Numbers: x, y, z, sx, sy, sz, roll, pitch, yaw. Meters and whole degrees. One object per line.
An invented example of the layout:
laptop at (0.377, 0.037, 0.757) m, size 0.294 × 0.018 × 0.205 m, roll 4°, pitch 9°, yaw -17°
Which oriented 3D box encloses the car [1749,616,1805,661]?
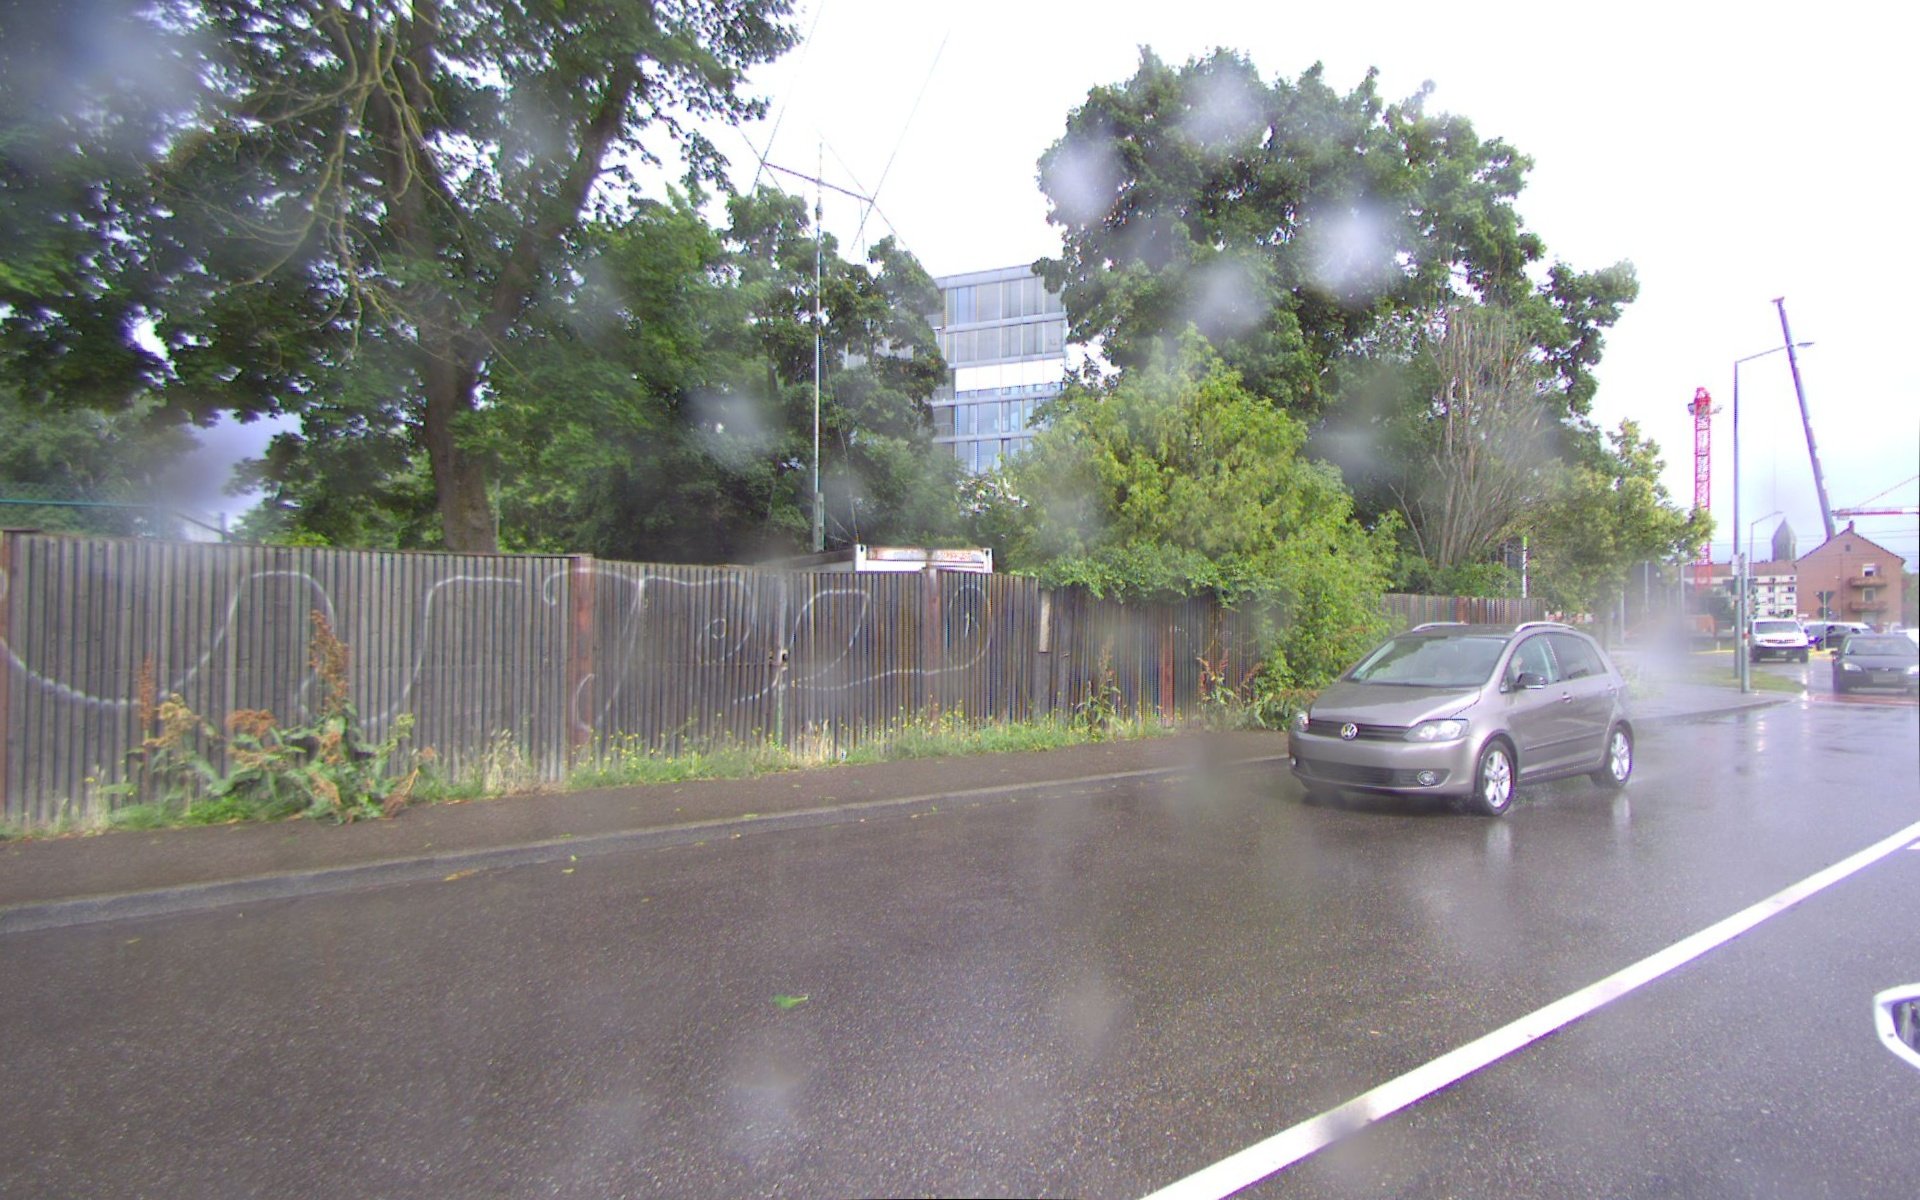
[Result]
car at (36.545, 1.703, 44.889) m, size 1.866 × 1.901 × 5.108 m, roll -1°, pitch -2°, yaw 40°

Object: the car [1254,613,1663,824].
car at (4.888, 0.985, 9.590) m, size 4.387 × 1.572 × 1.768 m, roll 1°, pitch -4°, yaw -39°

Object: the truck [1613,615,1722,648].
truck at (55.700, 2.483, 79.185) m, size 2.416 × 2.475 × 6.642 m, roll 1°, pitch -2°, yaw -42°

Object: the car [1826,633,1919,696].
car at (24.039, 1.646, 26.183) m, size 4.150 × 1.502 × 1.856 m, roll 3°, pitch -3°, yaw -44°
